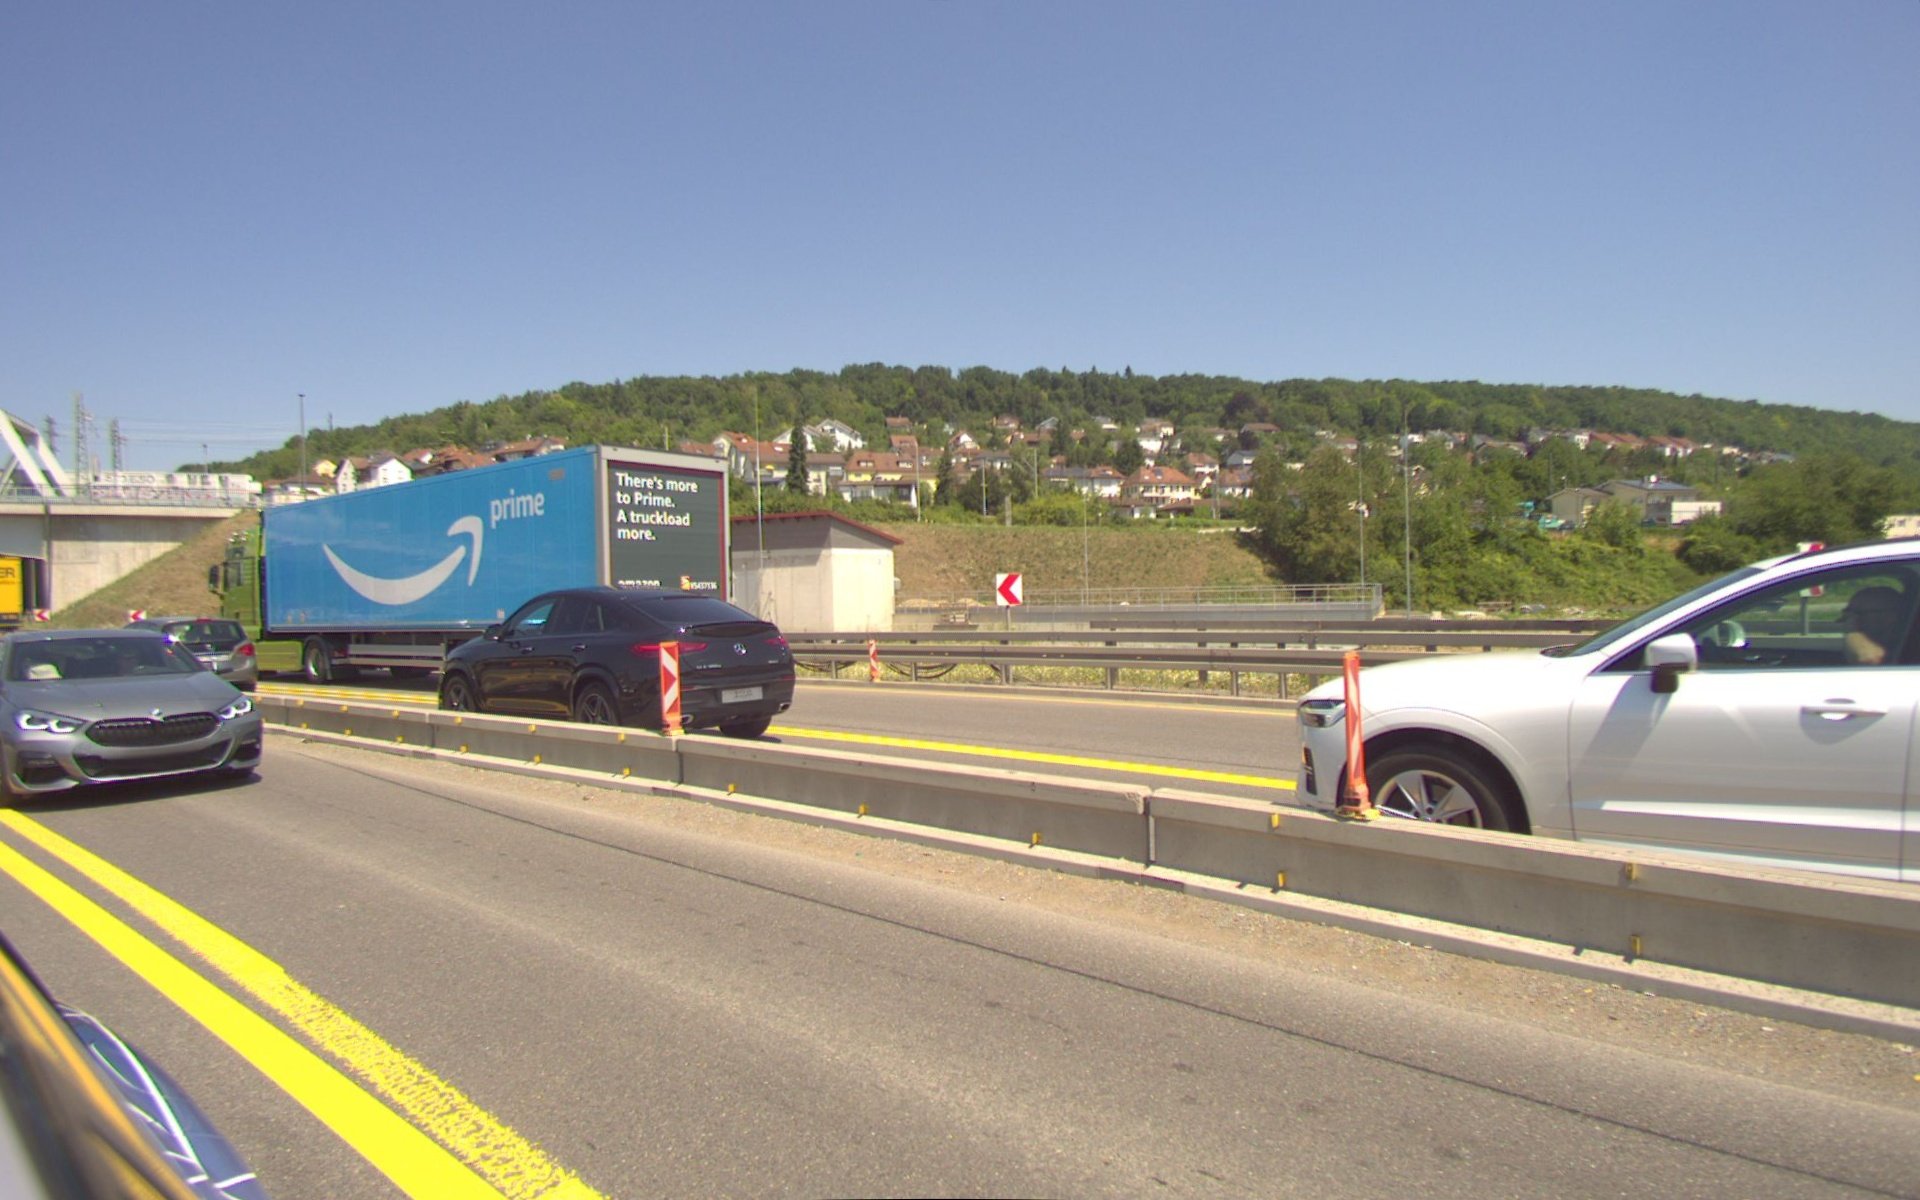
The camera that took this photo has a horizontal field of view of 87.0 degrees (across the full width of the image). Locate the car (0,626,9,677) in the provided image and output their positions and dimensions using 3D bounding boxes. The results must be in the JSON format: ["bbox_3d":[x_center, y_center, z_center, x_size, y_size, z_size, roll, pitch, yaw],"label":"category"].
[{"bbox_3d":[-29.980,1.574,29.850,4.571,1.446,1.805,-2,1,34],"label":"car"}]

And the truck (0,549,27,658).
[{"bbox_3d":[-45.142,0.225,44.108,15.327,4.374,2.785,-1,1,33],"label":"truck"}]

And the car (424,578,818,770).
[{"bbox_3d":[-3.874,0.690,11.109,4.710,1.659,1.862,-2,1,40],"label":"car"}]

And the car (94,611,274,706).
[{"bbox_3d":[-15.261,1.090,19.838,4.296,1.596,1.803,-2,1,39],"label":"car"}]

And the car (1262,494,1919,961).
[{"bbox_3d":[3.892,0.432,4.369,4.568,1.659,1.801,-3,0,42],"label":"car"}]

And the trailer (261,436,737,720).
[{"bbox_3d":[-10.007,-0.355,20.466,13.286,4.324,2.624,0,2,37],"label":"trailer"}]

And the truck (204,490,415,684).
[{"bbox_3d":[-16.018,-0.327,24.883,4.720,4.302,2.603,-1,2,35],"label":"truck"}]

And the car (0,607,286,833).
[{"bbox_3d":[-8.205,0.923,9.535,4.384,1.609,1.816,-1,1,39],"label":"car"}]
